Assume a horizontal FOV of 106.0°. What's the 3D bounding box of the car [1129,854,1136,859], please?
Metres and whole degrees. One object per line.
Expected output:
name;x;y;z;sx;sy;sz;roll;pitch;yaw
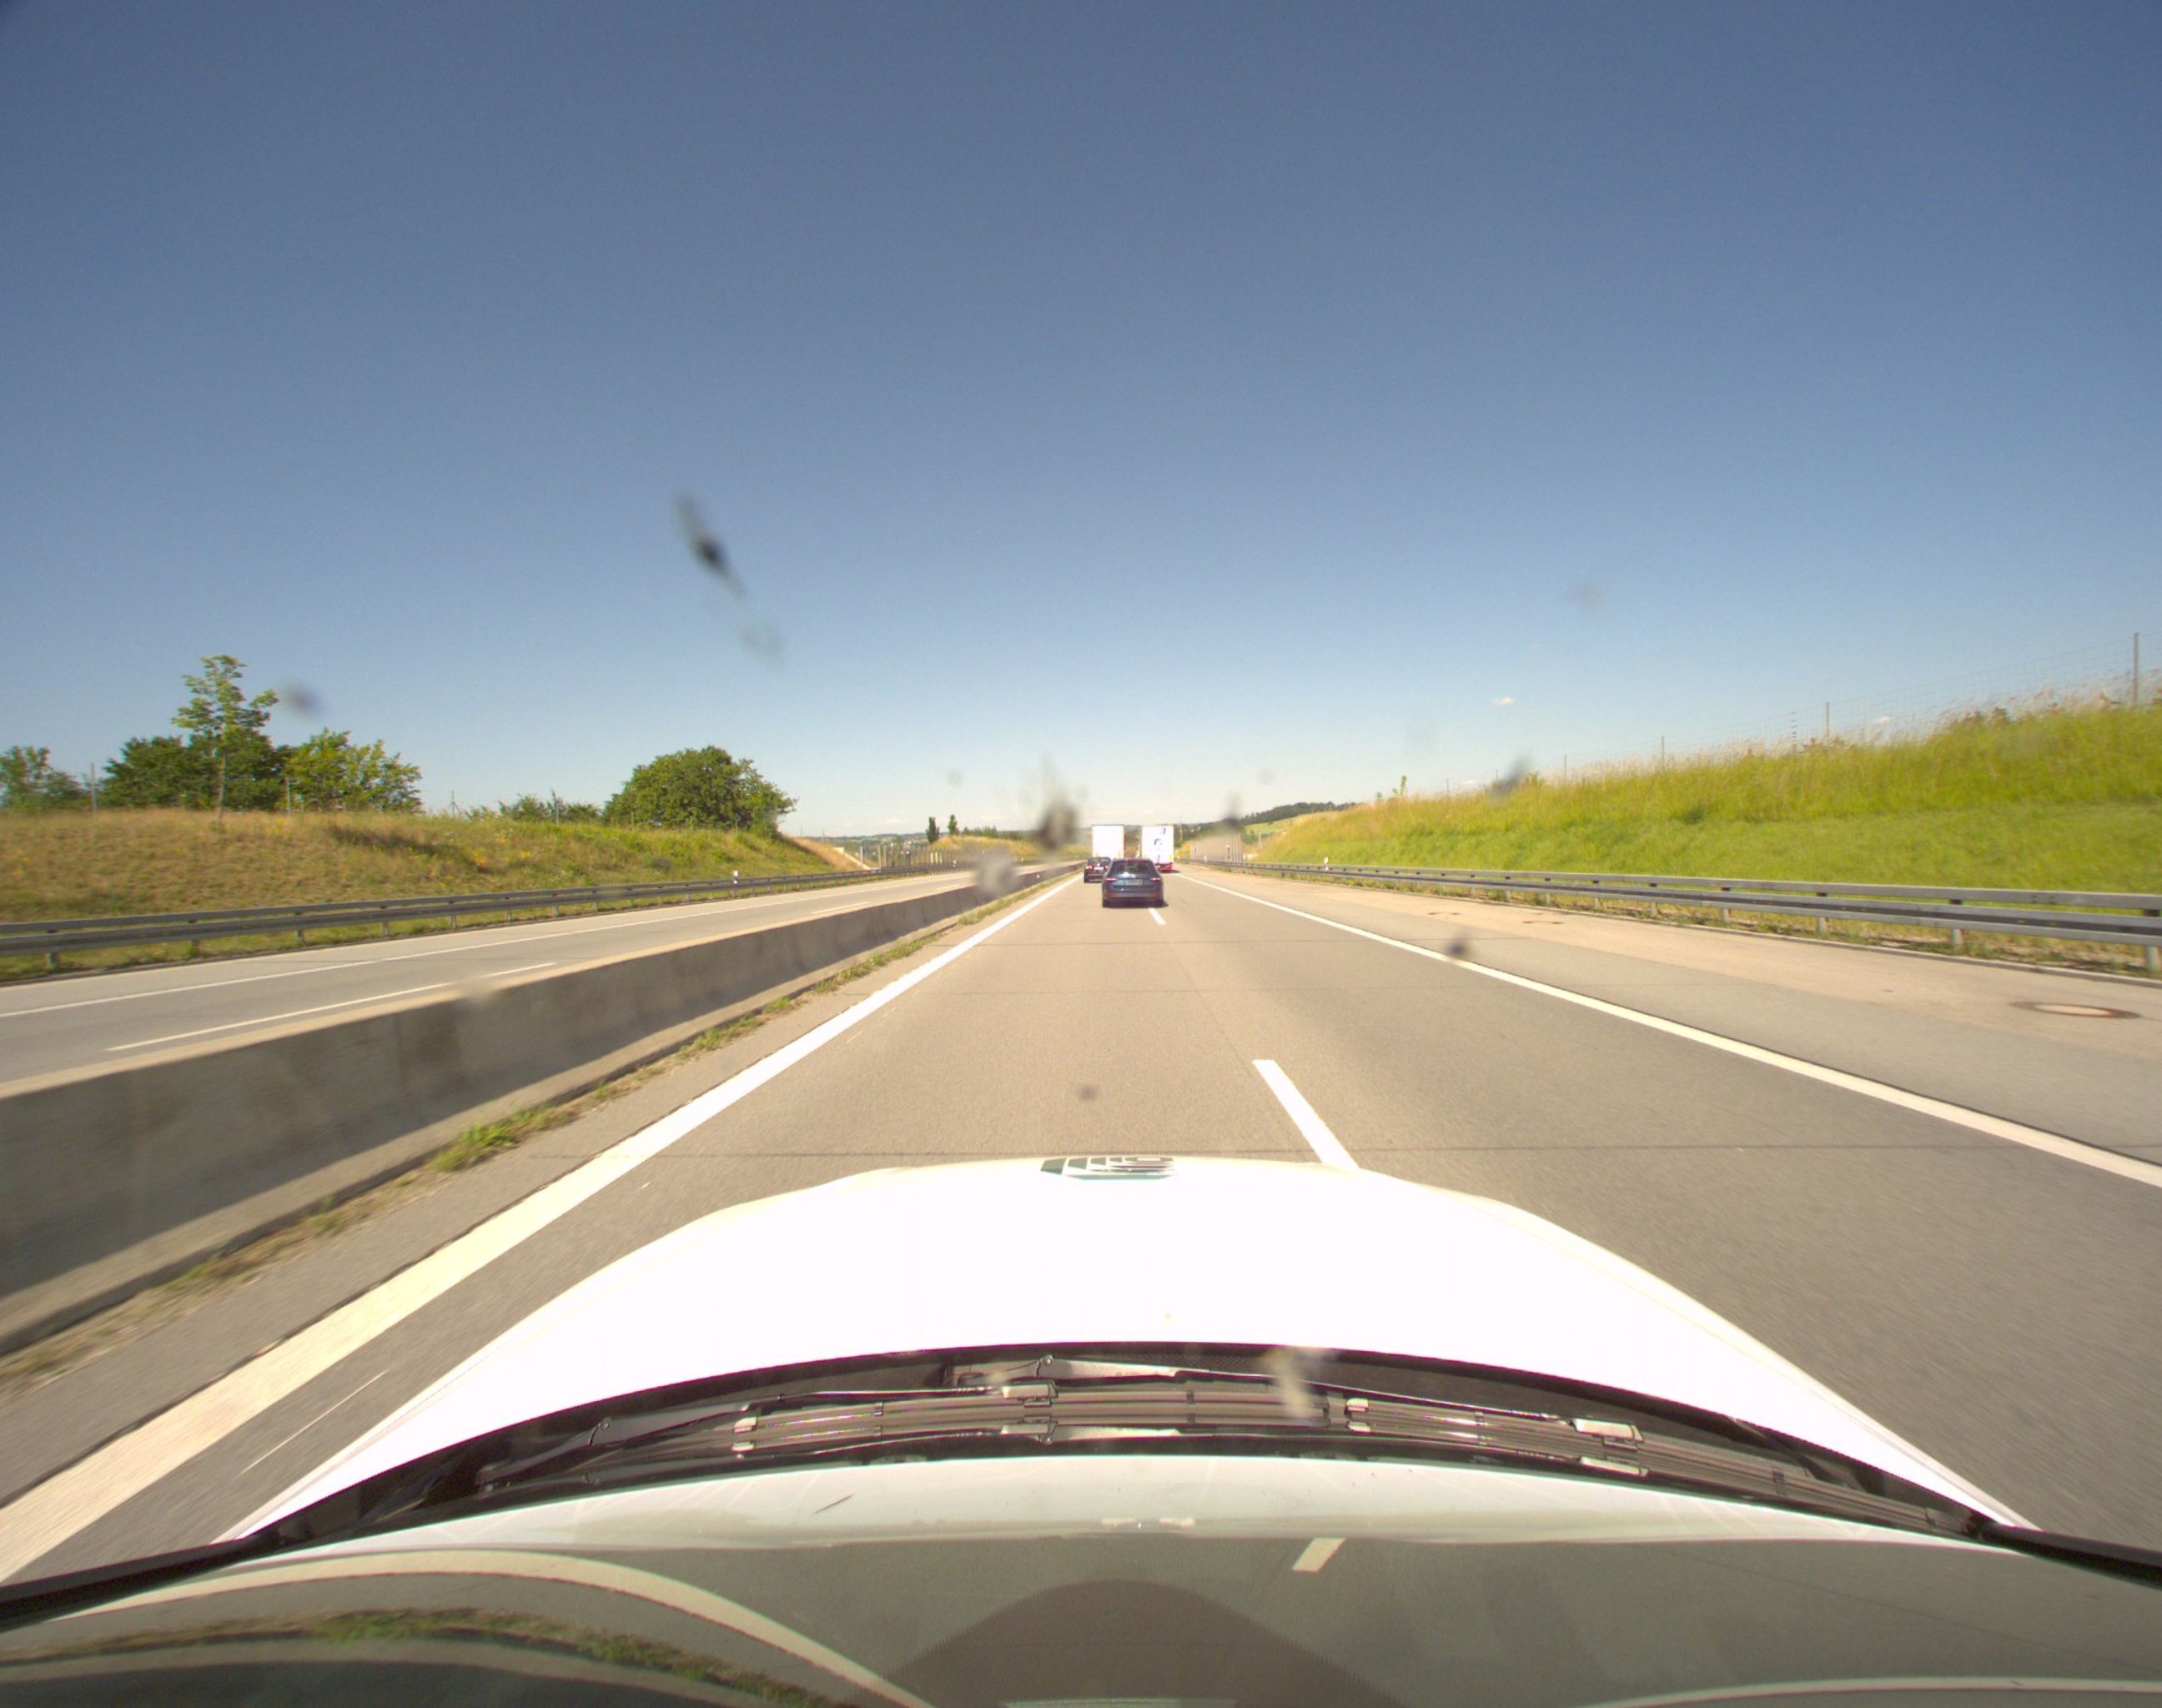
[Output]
car;13.905;0.713;219.645;1.693;1.441;4.003;-2;0;3

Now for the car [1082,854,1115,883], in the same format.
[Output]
car;0.979;0.784;46.286;1.694;1.441;4.000;-4;0;0

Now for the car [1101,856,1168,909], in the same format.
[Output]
car;1.533;0.792;24.511;1.771;1.441;3.788;-1;0;0

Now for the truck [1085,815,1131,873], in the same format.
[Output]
truck;2.497;-0.814;69.961;3.196;4.381;11.246;-4;0;4

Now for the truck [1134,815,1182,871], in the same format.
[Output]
truck;6.698;-0.887;72.390;3.588;4.381;11.245;-4;0;4

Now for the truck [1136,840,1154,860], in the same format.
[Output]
truck;14.700;-0.922;187.801;3.588;4.381;11.245;-4;0;4
